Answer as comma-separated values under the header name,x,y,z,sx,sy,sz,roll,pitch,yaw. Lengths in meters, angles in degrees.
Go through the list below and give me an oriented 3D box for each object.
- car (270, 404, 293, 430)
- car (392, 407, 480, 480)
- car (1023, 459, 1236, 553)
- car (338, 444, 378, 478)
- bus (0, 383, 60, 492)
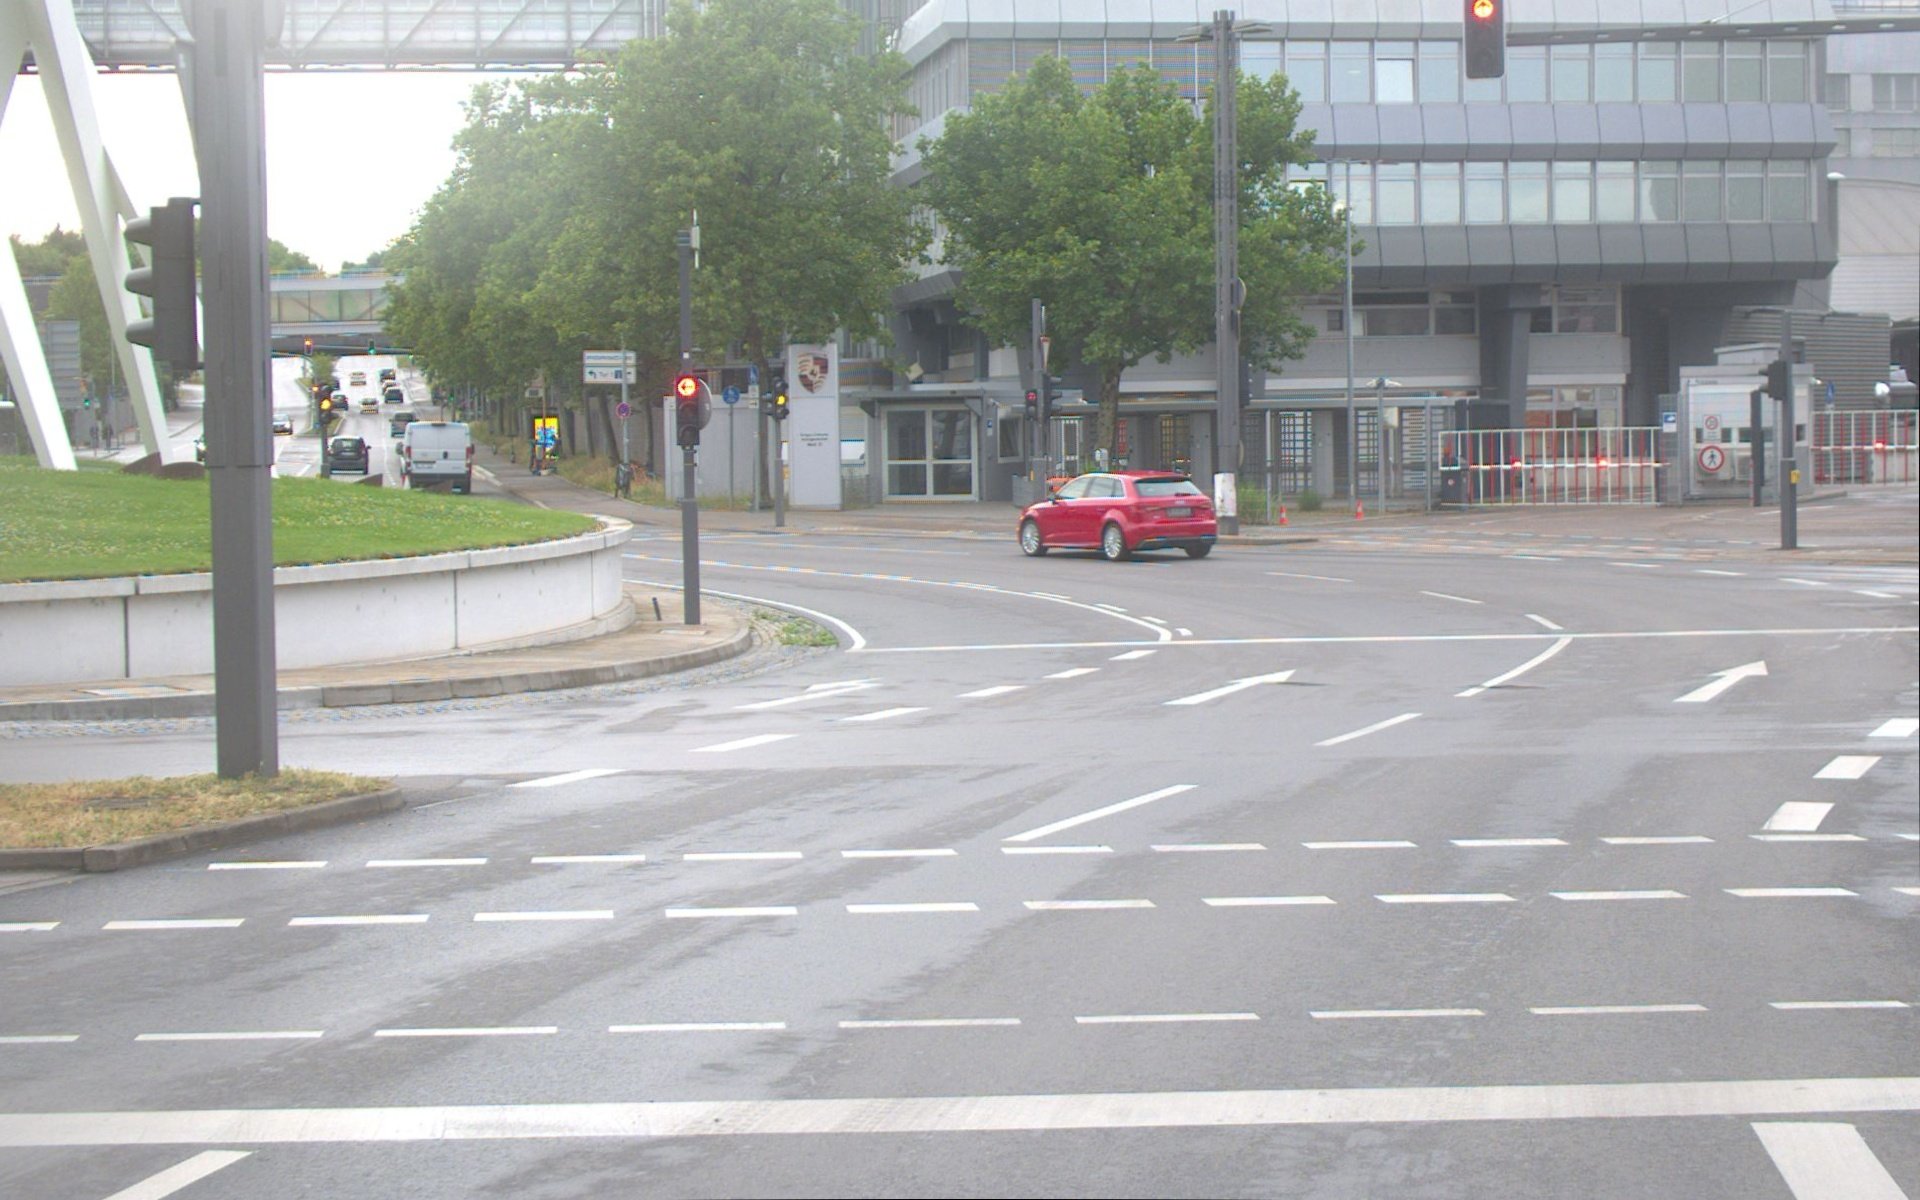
name,x,y,z,sx,sy,sz,roll,pitch,yaw
car,-47.913,-12.916,242.748,1.627,1.810,3.734,0,2,-11
car,-16.424,-4.875,107.624,2.232,2.100,4.956,-1,0,-14
car,2.724,-1.511,56.073,1.772,1.459,3.733,-1,1,-29
car,-24.418,-5.625,139.399,1.556,1.284,3.414,-1,1,-11
bus,-30.483,-5.003,107.587,2.668,3.190,12.673,0,2,-6
